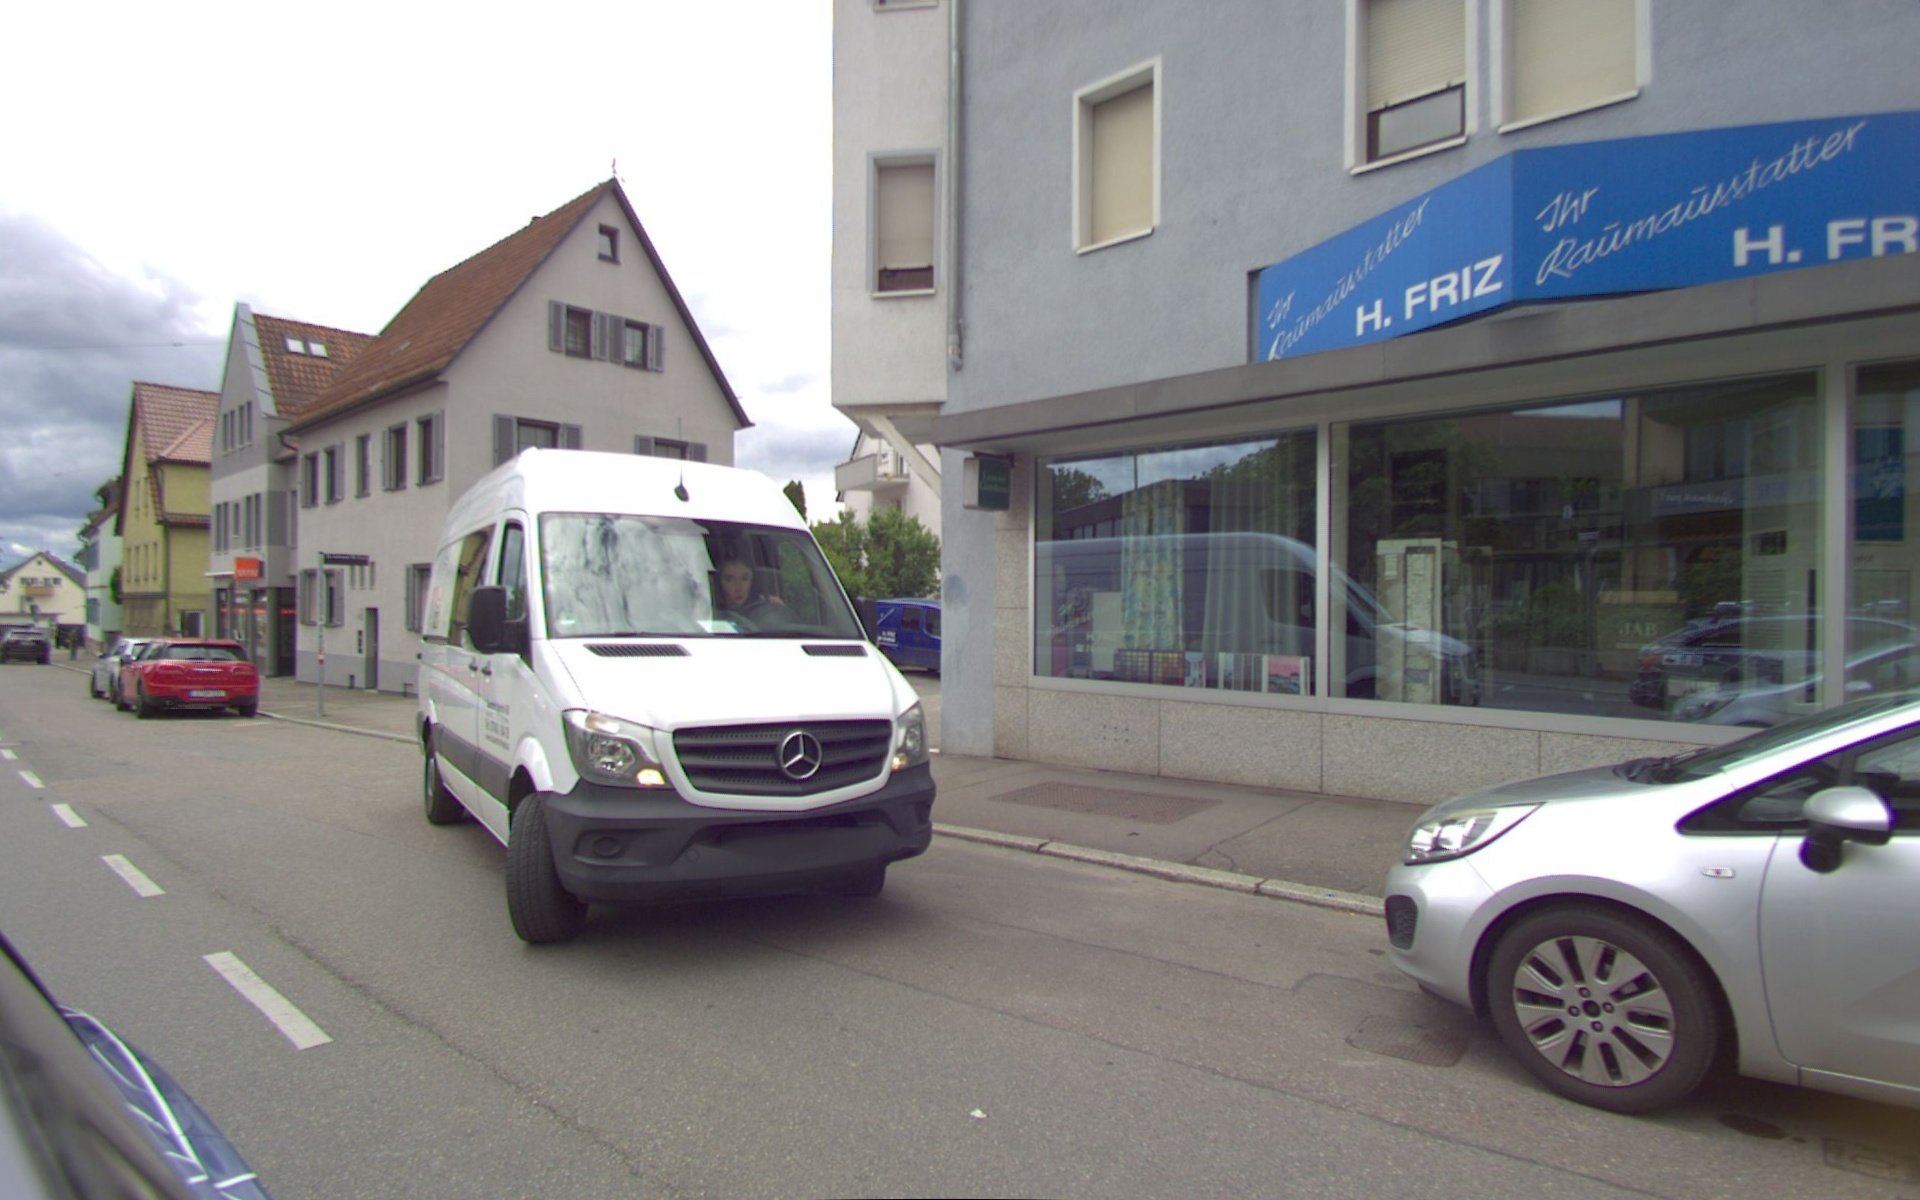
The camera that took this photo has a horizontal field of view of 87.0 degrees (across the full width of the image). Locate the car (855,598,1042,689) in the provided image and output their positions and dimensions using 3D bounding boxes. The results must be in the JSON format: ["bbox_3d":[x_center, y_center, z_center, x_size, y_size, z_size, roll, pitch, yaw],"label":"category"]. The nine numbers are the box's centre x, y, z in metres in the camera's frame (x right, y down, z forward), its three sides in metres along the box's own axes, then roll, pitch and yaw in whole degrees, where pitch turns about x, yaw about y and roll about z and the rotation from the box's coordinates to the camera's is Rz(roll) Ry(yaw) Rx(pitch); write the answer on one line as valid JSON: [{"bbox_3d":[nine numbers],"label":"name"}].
[{"bbox_3d":[-0.368,1.008,23.795,1.812,1.924,4.628,1,-3,-42],"label":"car"}]

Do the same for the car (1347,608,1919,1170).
[{"bbox_3d":[3.439,0.734,2.872,3.998,1.422,1.779,-2,-2,42],"label":"car"}]

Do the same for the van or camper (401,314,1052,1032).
[{"bbox_3d":[-2.230,0.349,6.939,2.287,2.627,6.224,1,-2,-34],"label":"van or camper"}]

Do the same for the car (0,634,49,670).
[{"bbox_3d":[-44.250,2.418,47.588,4.352,1.580,1.695,-2,-3,43],"label":"car"}]

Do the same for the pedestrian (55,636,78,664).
[{"bbox_3d":[-45.029,2.496,51.010,0.551,1.386,0.821,-2,-2,44],"label":"pedestrian"}]

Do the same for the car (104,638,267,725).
[{"bbox_3d":[-15.023,1.514,19.549,4.353,1.485,1.838,-2,-5,44],"label":"car"}]

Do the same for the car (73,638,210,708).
[{"bbox_3d":[-19.105,1.650,23.561,4.351,1.485,1.758,-2,-4,42],"label":"car"}]

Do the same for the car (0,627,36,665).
[{"bbox_3d":[-49.200,2.350,52.038,4.352,1.863,2.083,-2,-3,43],"label":"car"}]
